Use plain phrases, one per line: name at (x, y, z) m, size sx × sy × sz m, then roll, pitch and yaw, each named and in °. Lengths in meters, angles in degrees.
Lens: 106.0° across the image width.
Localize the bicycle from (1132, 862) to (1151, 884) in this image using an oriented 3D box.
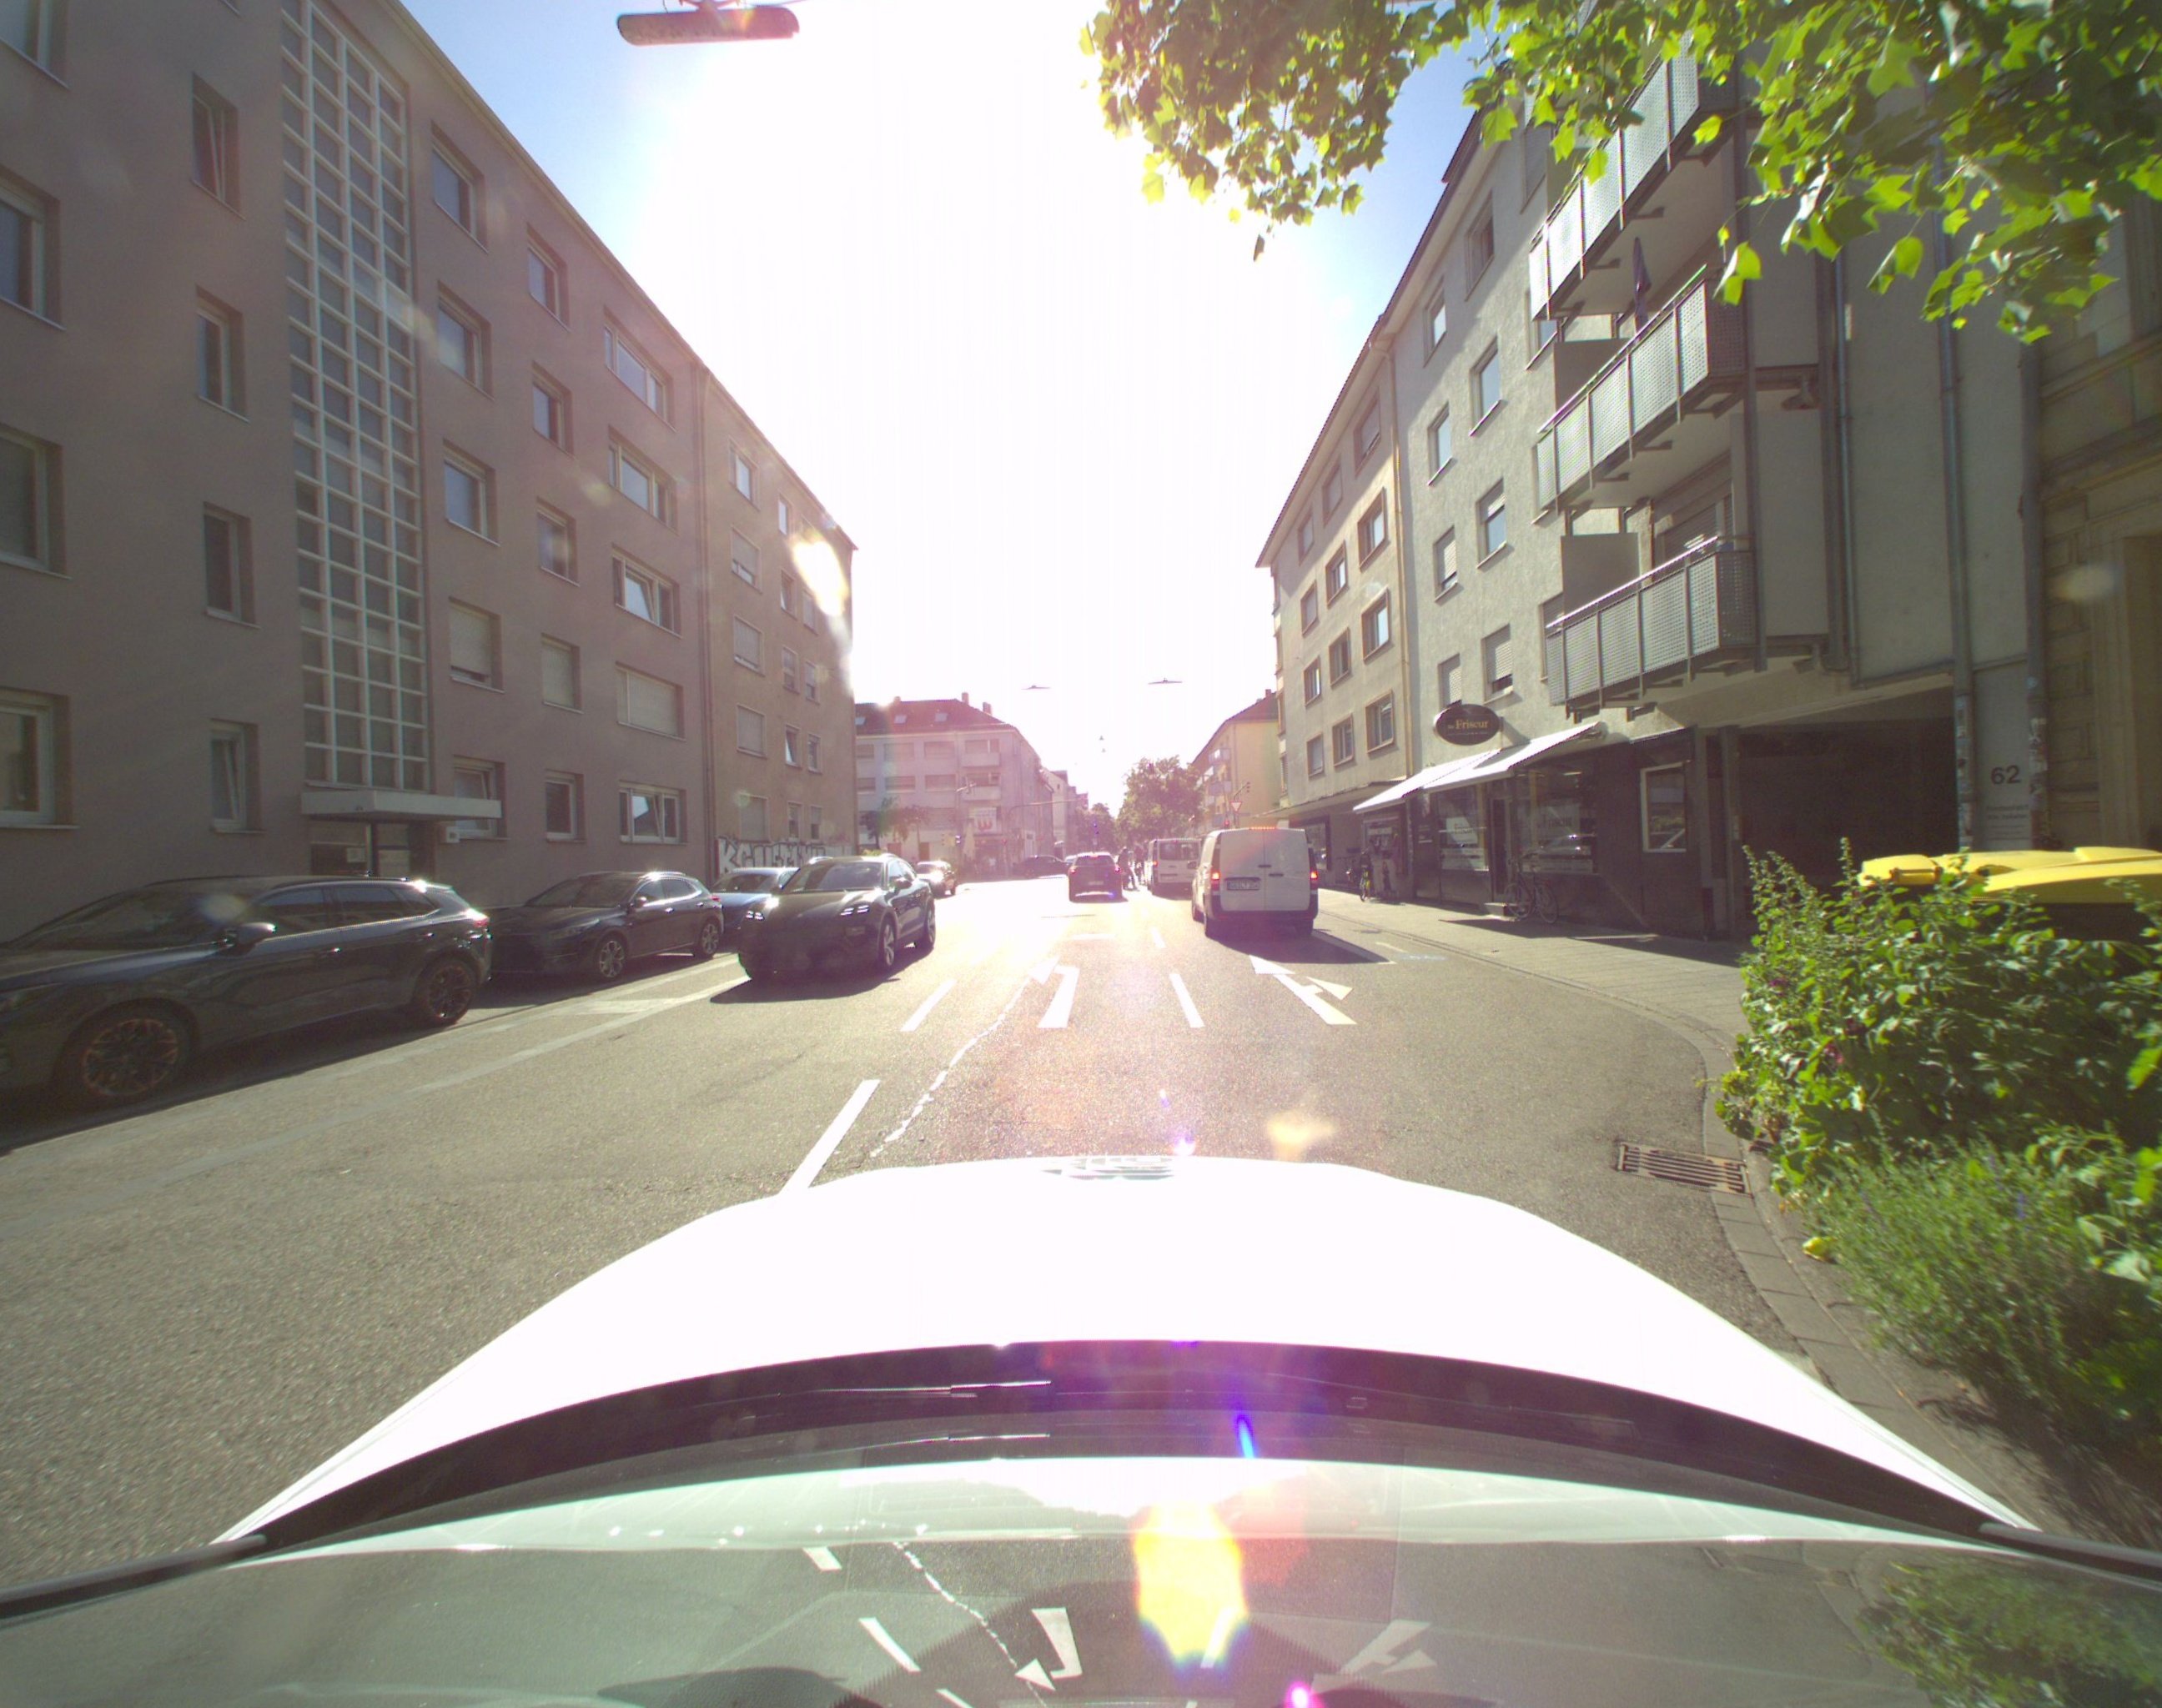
bicycle at (2.887, 0.887, 39.150) m, size 0.772 × 0.992 × 1.717 m, roll -2°, pitch 0°, yaw 1°

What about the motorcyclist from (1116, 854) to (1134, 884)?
motorcyclist at (1.815, 0.617, 33.754) m, size 0.656 × 1.227 × 0.694 m, roll -2°, pitch 0°, yaw 1°

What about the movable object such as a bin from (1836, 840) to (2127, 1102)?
movable object such as a bin at (5.383, 0.612, 4.991) m, size 1.028 × 1.347 × 1.116 m, roll -2°, pitch 0°, yaw 41°

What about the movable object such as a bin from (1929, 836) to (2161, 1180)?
movable object such as a bin at (4.748, 0.612, 3.714) m, size 1.278 × 1.347 × 1.095 m, roll -2°, pitch 0°, yaw -40°

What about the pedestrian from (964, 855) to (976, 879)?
pedestrian at (-8.134, 0.953, 59.581) m, size 0.681 × 1.663 × 0.601 m, roll -2°, pitch 0°, yaw 1°

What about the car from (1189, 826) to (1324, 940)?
car at (3.196, 0.474, 15.723) m, size 1.975 × 1.822 × 4.554 m, roll -2°, pitch 0°, yaw 5°

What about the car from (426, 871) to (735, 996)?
car at (-7.425, 1.081, 12.726) m, size 1.985 × 1.497 × 4.232 m, roll 1°, pitch 0°, yaw 4°

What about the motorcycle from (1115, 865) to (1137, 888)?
motorcycle at (1.851, 0.916, 33.889) m, size 0.804 × 0.863 × 1.823 m, roll -2°, pitch 0°, yaw 1°

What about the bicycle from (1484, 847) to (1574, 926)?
bicycle at (7.779, 0.535, 14.225) m, size 0.546 × 1.269 × 1.884 m, roll -2°, pitch 0°, yaw 2°

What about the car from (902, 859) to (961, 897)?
car at (-6.276, 0.980, 34.577) m, size 1.647 × 1.479 × 4.001 m, roll 0°, pitch 0°, yaw 1°

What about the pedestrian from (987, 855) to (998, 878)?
pedestrian at (-6.562, 0.901, 60.451) m, size 0.681 × 1.663 × 0.601 m, roll -2°, pitch 0°, yaw 1°

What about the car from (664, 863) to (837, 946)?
car at (-7.002, 0.997, 17.850) m, size 1.714 × 1.497 × 4.628 m, roll 1°, pitch 0°, yaw 2°

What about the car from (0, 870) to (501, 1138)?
car at (-7.636, 0.992, 7.104) m, size 1.869 × 1.606 × 4.368 m, roll 0°, pitch 0°, yaw 3°

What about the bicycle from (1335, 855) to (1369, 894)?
bicycle at (8.180, 0.608, 24.667) m, size 0.521 × 1.118 × 1.534 m, roll -3°, pitch 0°, yaw 2°

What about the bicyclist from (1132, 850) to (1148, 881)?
bicyclist at (2.830, 0.559, 39.157) m, size 0.681 × 1.448 × 0.940 m, roll -2°, pitch 0°, yaw 1°

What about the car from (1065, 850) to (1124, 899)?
car at (0.466, 0.656, 27.989) m, size 1.838 × 1.507 × 4.001 m, roll -2°, pitch 0°, yaw 1°

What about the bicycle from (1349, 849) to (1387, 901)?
bicycle at (7.547, 0.538, 21.435) m, size 0.473 × 1.274 × 1.218 m, roll -5°, pitch 0°, yaw 2°

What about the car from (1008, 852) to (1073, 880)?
car at (-2.625, 0.757, 52.631) m, size 3.987 × 1.640 × 1.993 m, roll -2°, pitch 0°, yaw -10°

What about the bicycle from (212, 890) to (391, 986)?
bicycle at (-10.622, 1.102, 11.204) m, size 0.552 × 1.102 × 1.904 m, roll -2°, pitch 0°, yaw 2°

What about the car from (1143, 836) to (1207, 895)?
car at (3.372, 0.395, 29.974) m, size 1.809 × 1.921 × 4.645 m, roll -2°, pitch 0°, yaw 1°

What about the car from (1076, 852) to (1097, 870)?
car at (0.474, 0.563, 66.967) m, size 1.612 × 1.398 × 3.733 m, roll -2°, pitch 0°, yaw 2°

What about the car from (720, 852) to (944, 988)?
car at (-3.488, 0.821, 12.388) m, size 1.860 × 1.614 × 4.429 m, roll -3°, pitch 0°, yaw 2°
